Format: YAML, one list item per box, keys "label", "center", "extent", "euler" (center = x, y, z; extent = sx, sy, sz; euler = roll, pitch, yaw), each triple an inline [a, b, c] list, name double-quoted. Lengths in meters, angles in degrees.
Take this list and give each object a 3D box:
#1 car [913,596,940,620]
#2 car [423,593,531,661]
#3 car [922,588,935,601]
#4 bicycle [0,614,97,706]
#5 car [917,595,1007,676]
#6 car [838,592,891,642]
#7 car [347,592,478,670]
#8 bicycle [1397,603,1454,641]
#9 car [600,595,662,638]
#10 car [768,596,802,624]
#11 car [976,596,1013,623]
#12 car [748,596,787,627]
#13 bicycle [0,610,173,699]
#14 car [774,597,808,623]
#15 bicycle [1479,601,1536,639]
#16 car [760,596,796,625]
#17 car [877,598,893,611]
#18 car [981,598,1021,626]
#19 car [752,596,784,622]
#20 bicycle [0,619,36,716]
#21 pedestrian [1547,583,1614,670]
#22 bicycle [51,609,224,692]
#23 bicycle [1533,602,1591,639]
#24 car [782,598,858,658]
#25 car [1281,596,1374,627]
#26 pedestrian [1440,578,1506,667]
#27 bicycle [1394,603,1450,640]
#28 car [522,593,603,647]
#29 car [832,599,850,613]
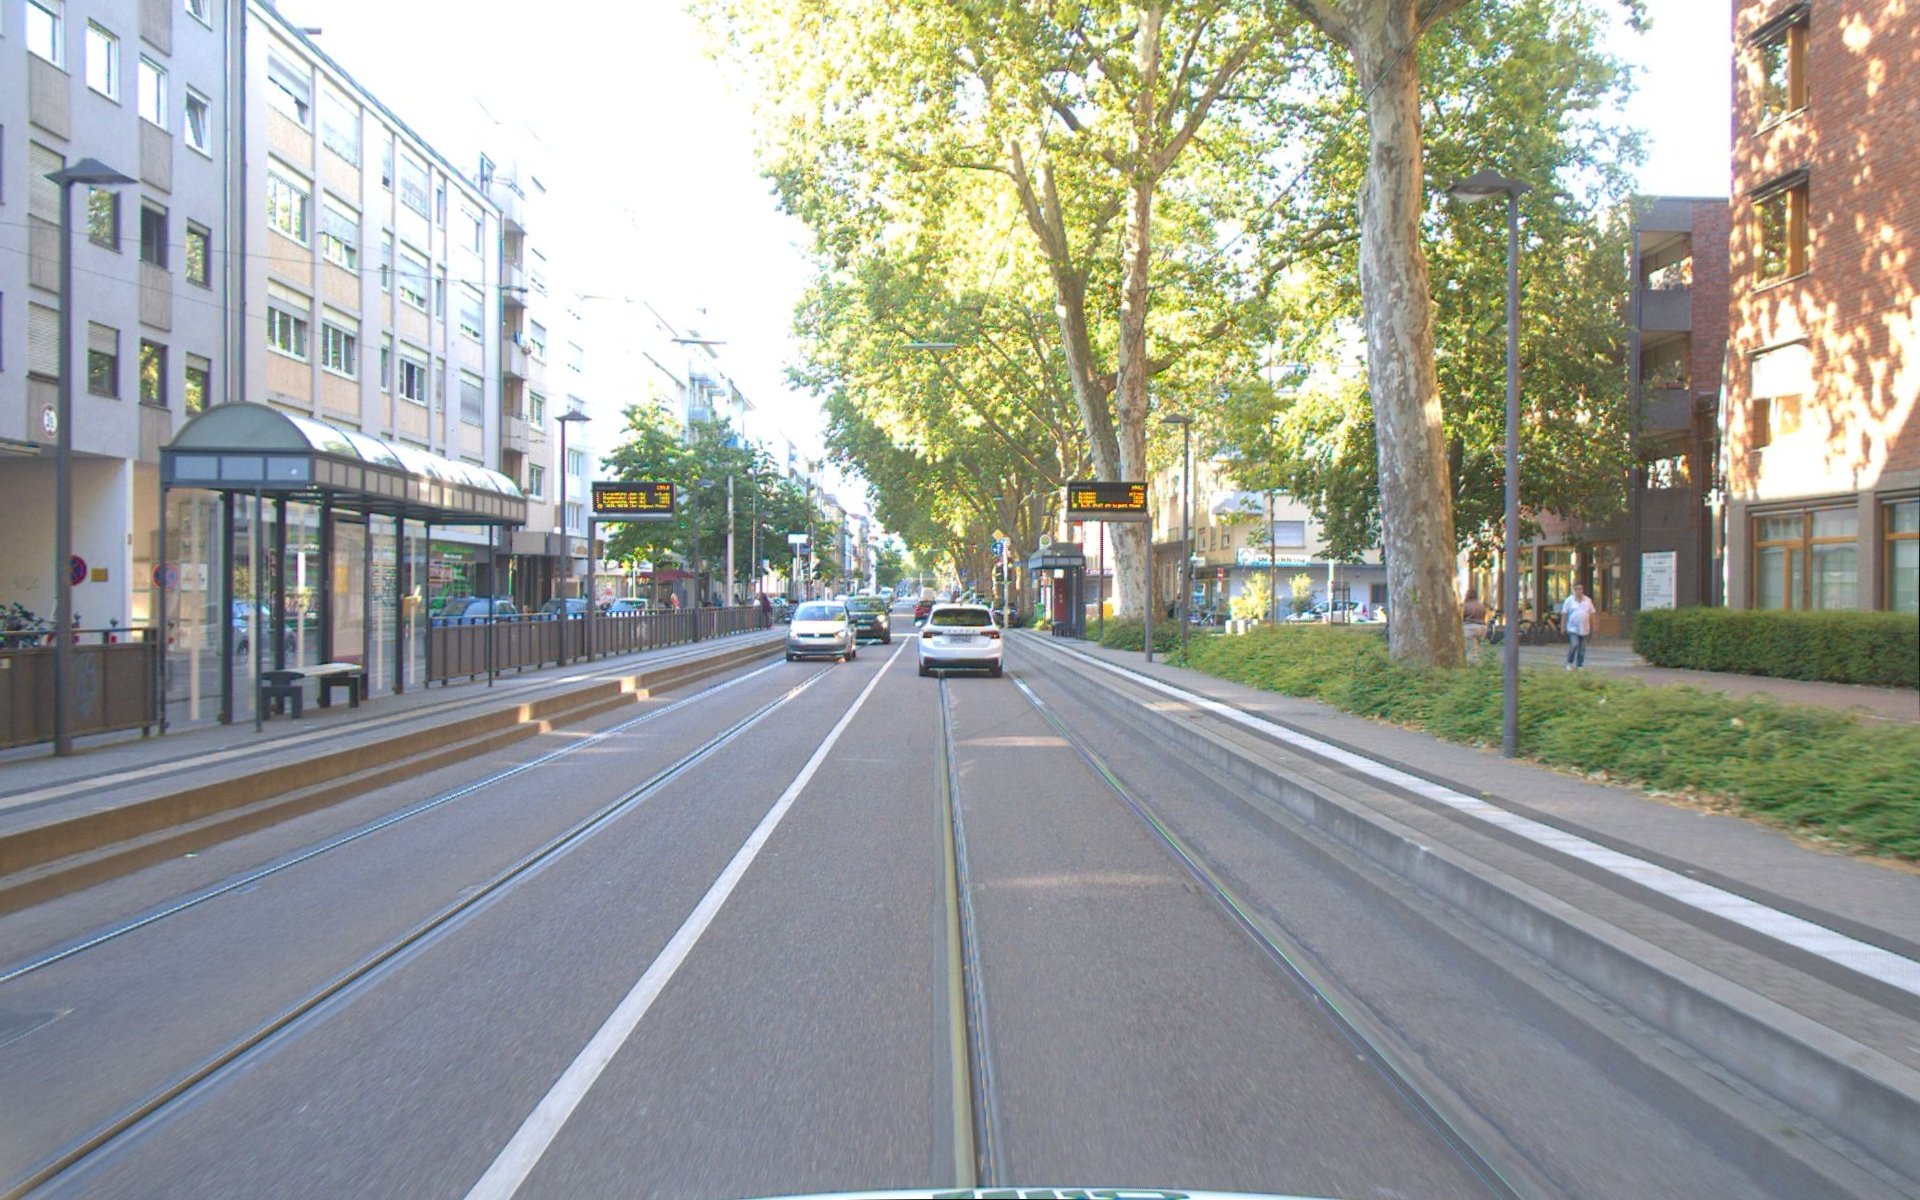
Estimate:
- label: "car"
  center: [-2.216, 0.502, 110.871]
  extent: [1.752, 1.540, 3.999]
  euler: [0, 0, -1]
- label: "car"
  center: [-12.123, 0.631, 41.720]
  extent: [1.561, 1.575, 3.999]
  euler: [2, 0, -1]
- label: "car"
  center: [-4.607, -0.777, 240.692]
  extent: [1.828, 1.925, 3.999]
  euler: [0, 0, -1]
- label: "bicycle"
  center: [-12.365, 0.734, 21.215]
  extent: [2.207, 1.092, 0.636]
  euler: [3, 0, 0]
- label: "car"
  center: [0.005, 0.684, 34.138]
  extent: [1.752, 1.540, 3.999]
  euler: [0, 0, -1]
- label: "car"
  center: [-3.257, 0.556, 56.887]
  extent: [1.659, 1.673, 3.999]
  euler: [0, 0, -1]
- label: "car"
  center: [-12.010, 0.640, 36.512]
  extent: [1.561, 1.575, 3.999]
  euler: [2, 0, -1]
- label: "bicycle"
  center: [13.179, 0.612, 46.826]
  extent: [1.533, 1.055, 0.479]
  euler: [0, 0, 20]
- label: "car"
  center: [-12.912, 0.615, 65.130]
  extent: [1.644, 1.575, 3.999]
  euler: [2, 0, -1]
- label: "car"
  center: [-10.458, 0.595, 99.224]
  extent: [1.644, 1.575, 3.999]
  euler: [2, 0, -1]
- label: "car"
  center: [1.938, 0.530, 94.680]
  extent: [1.953, 1.478, 3.999]
  euler: [0, 0, -1]
- label: "car"
  center: [-10.529, 0.602, 90.711]
  extent: [1.644, 1.575, 3.999]
  euler: [2, 0, -1]
- label: "bicycle"
  center: [-12.250, 0.747, 23.048]
  extent: [2.207, 1.092, 0.636]
  euler: [3, 0, 0]
- label: "car"
  center: [-10.544, 0.594, 103.397]
  extent: [1.758, 1.536, 3.999]
  euler: [2, 0, -1]
- label: "bicycle"
  center: [15.540, 0.570, 46.953]
  extent: [1.533, 1.055, 0.479]
  euler: [0, 0, 20]
- label: "car"
  center: [-10.412, 0.598, 95.031]
  extent: [1.644, 1.575, 3.999]
  euler: [2, 0, -1]
- label: "car"
  center: [-8.569, 0.512, 189.323]
  extent: [1.752, 1.540, 3.999]
  euler: [0, 0, -1]
- label: "car"
  center: [2.198, 0.635, 89.598]
  extent: [1.953, 1.478, 3.999]
  euler: [0, 0, -1]
- label: "car"
  center: [-12.399, 0.584, 106.940]
  extent: [1.644, 1.575, 3.999]
  euler: [2, 0, -1]
- label: "bicycle"
  center: [-12.189, 0.736, 19.471]
  extent: [2.207, 1.092, 0.636]
  euler: [3, 0, 0]
- label: "pedestrian"
  center: [12.008, 0.498, 32.031]
  extent: [0.952, 1.652, 0.887]
  euler: [0, 0, -1]
- label: "bicycle"
  center: [-12.284, 0.746, 24.726]
  extent: [2.207, 1.092, 0.636]
  euler: [3, 0, 0]
- label: "bicycle"
  center: [17.114, 0.574, 47.002]
  extent: [1.534, 1.055, 0.479]
  euler: [0, 0, 22]
- label: "car"
  center: [-3.524, 0.677, 42.101]
  extent: [1.659, 1.444, 3.999]
  euler: [0, 0, -1]
- label: "car"
  center: [16.893, 0.530, 76.129]
  extent: [3.904, 1.396, 1.867]
  euler: [0, 0, 1]
- label: "pedestrian"
  center: [9.611, 0.411, 31.031]
  extent: [0.952, 1.652, 0.887]
  euler: [0, 0, -1]
- label: "bicycle"
  center: [13.329, 0.612, 47.744]
  extent: [1.533, 1.055, 0.504]
  euler: [0, 0, 20]
- label: "car"
  center: [-12.705, 0.612, 53.071]
  extent: [1.644, 1.575, 3.999]
  euler: [2, 0, -1]
- label: "car"
  center: [-13.115, 0.628, 183.070]
  extent: [1.752, 1.540, 3.999]
  euler: [0, 0, -1]
